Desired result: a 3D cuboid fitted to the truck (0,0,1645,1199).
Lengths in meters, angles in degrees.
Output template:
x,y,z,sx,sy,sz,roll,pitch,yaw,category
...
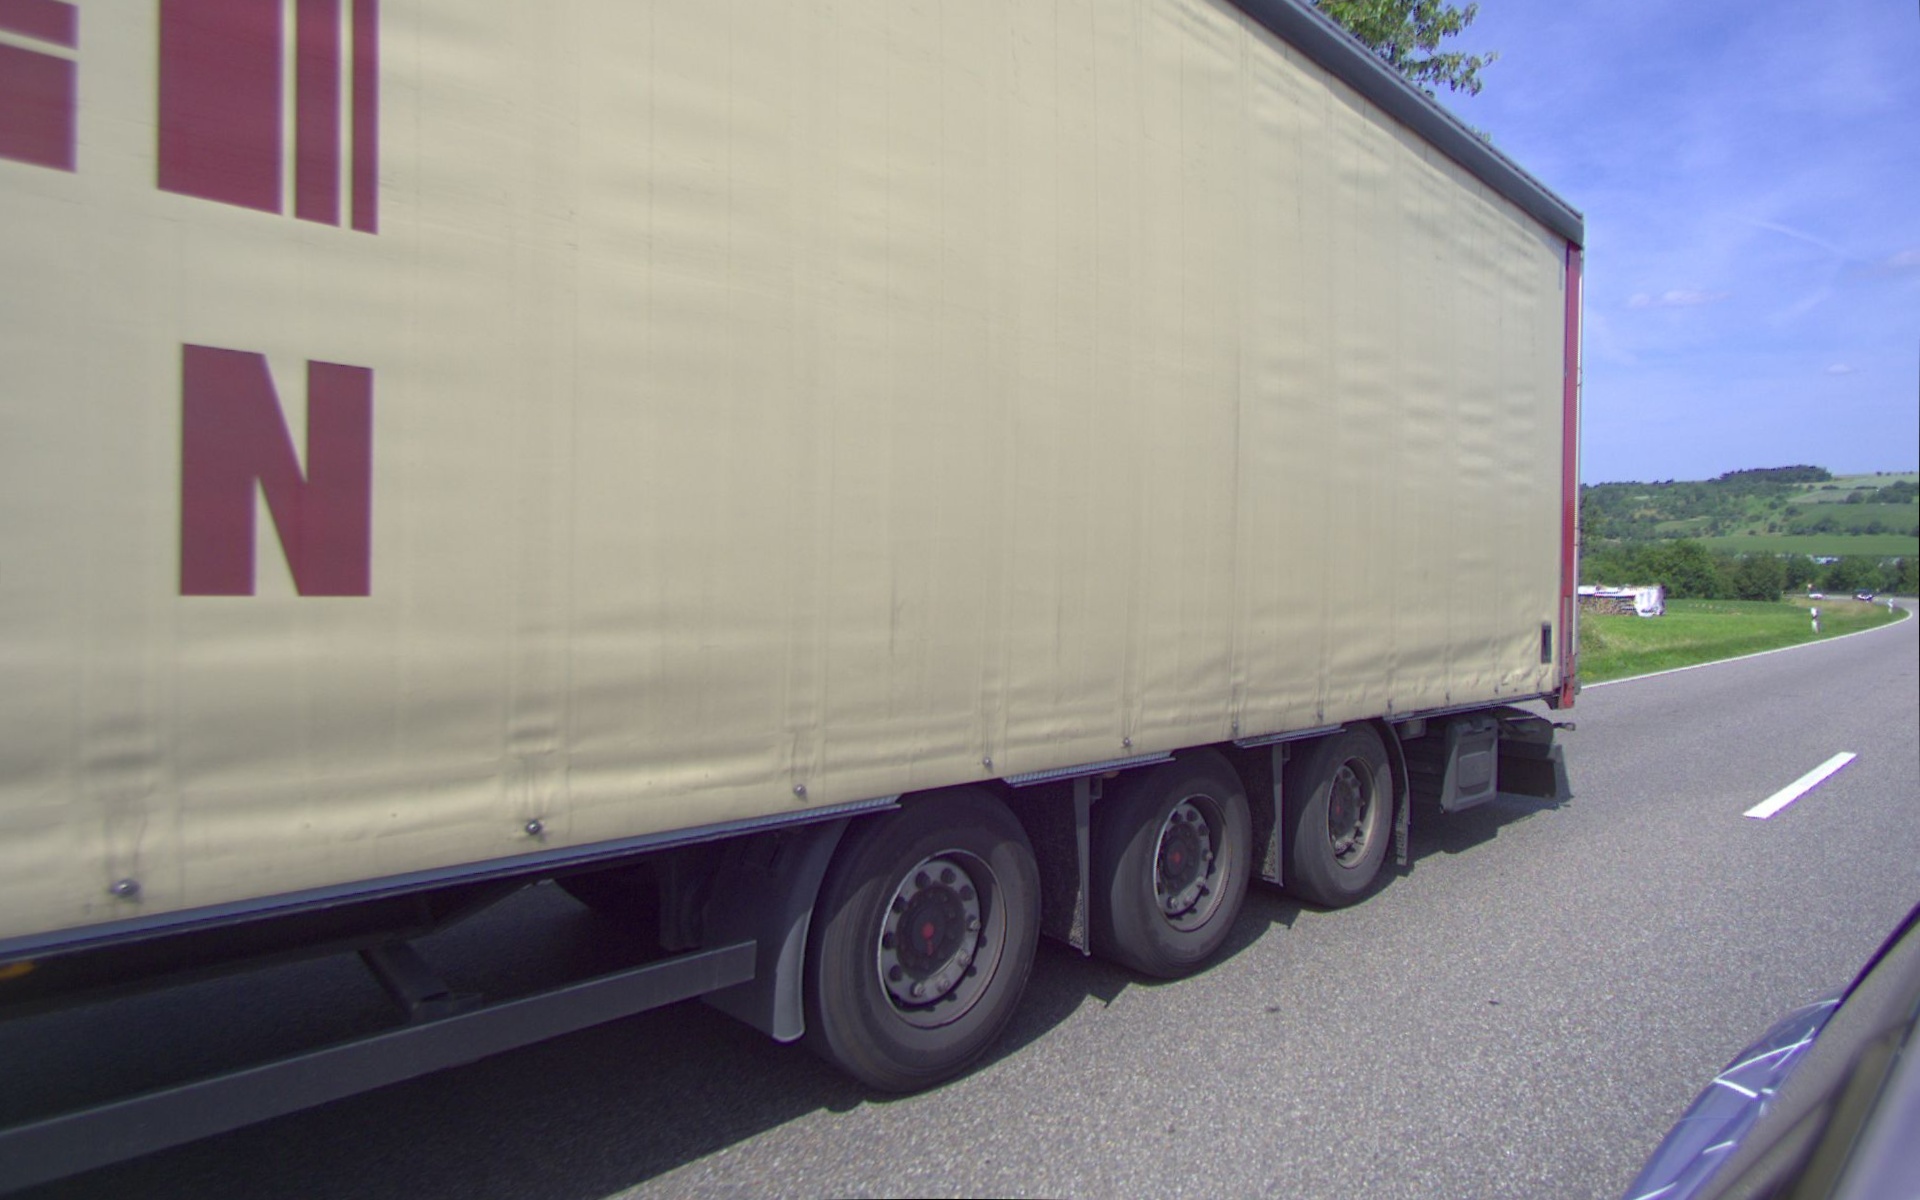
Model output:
x,y,z,sx,sy,sz,roll,pitch,yaw,category
-2.522,-0.698,2.479,16.425,4.233,3.011,-1,0,-42,truck
